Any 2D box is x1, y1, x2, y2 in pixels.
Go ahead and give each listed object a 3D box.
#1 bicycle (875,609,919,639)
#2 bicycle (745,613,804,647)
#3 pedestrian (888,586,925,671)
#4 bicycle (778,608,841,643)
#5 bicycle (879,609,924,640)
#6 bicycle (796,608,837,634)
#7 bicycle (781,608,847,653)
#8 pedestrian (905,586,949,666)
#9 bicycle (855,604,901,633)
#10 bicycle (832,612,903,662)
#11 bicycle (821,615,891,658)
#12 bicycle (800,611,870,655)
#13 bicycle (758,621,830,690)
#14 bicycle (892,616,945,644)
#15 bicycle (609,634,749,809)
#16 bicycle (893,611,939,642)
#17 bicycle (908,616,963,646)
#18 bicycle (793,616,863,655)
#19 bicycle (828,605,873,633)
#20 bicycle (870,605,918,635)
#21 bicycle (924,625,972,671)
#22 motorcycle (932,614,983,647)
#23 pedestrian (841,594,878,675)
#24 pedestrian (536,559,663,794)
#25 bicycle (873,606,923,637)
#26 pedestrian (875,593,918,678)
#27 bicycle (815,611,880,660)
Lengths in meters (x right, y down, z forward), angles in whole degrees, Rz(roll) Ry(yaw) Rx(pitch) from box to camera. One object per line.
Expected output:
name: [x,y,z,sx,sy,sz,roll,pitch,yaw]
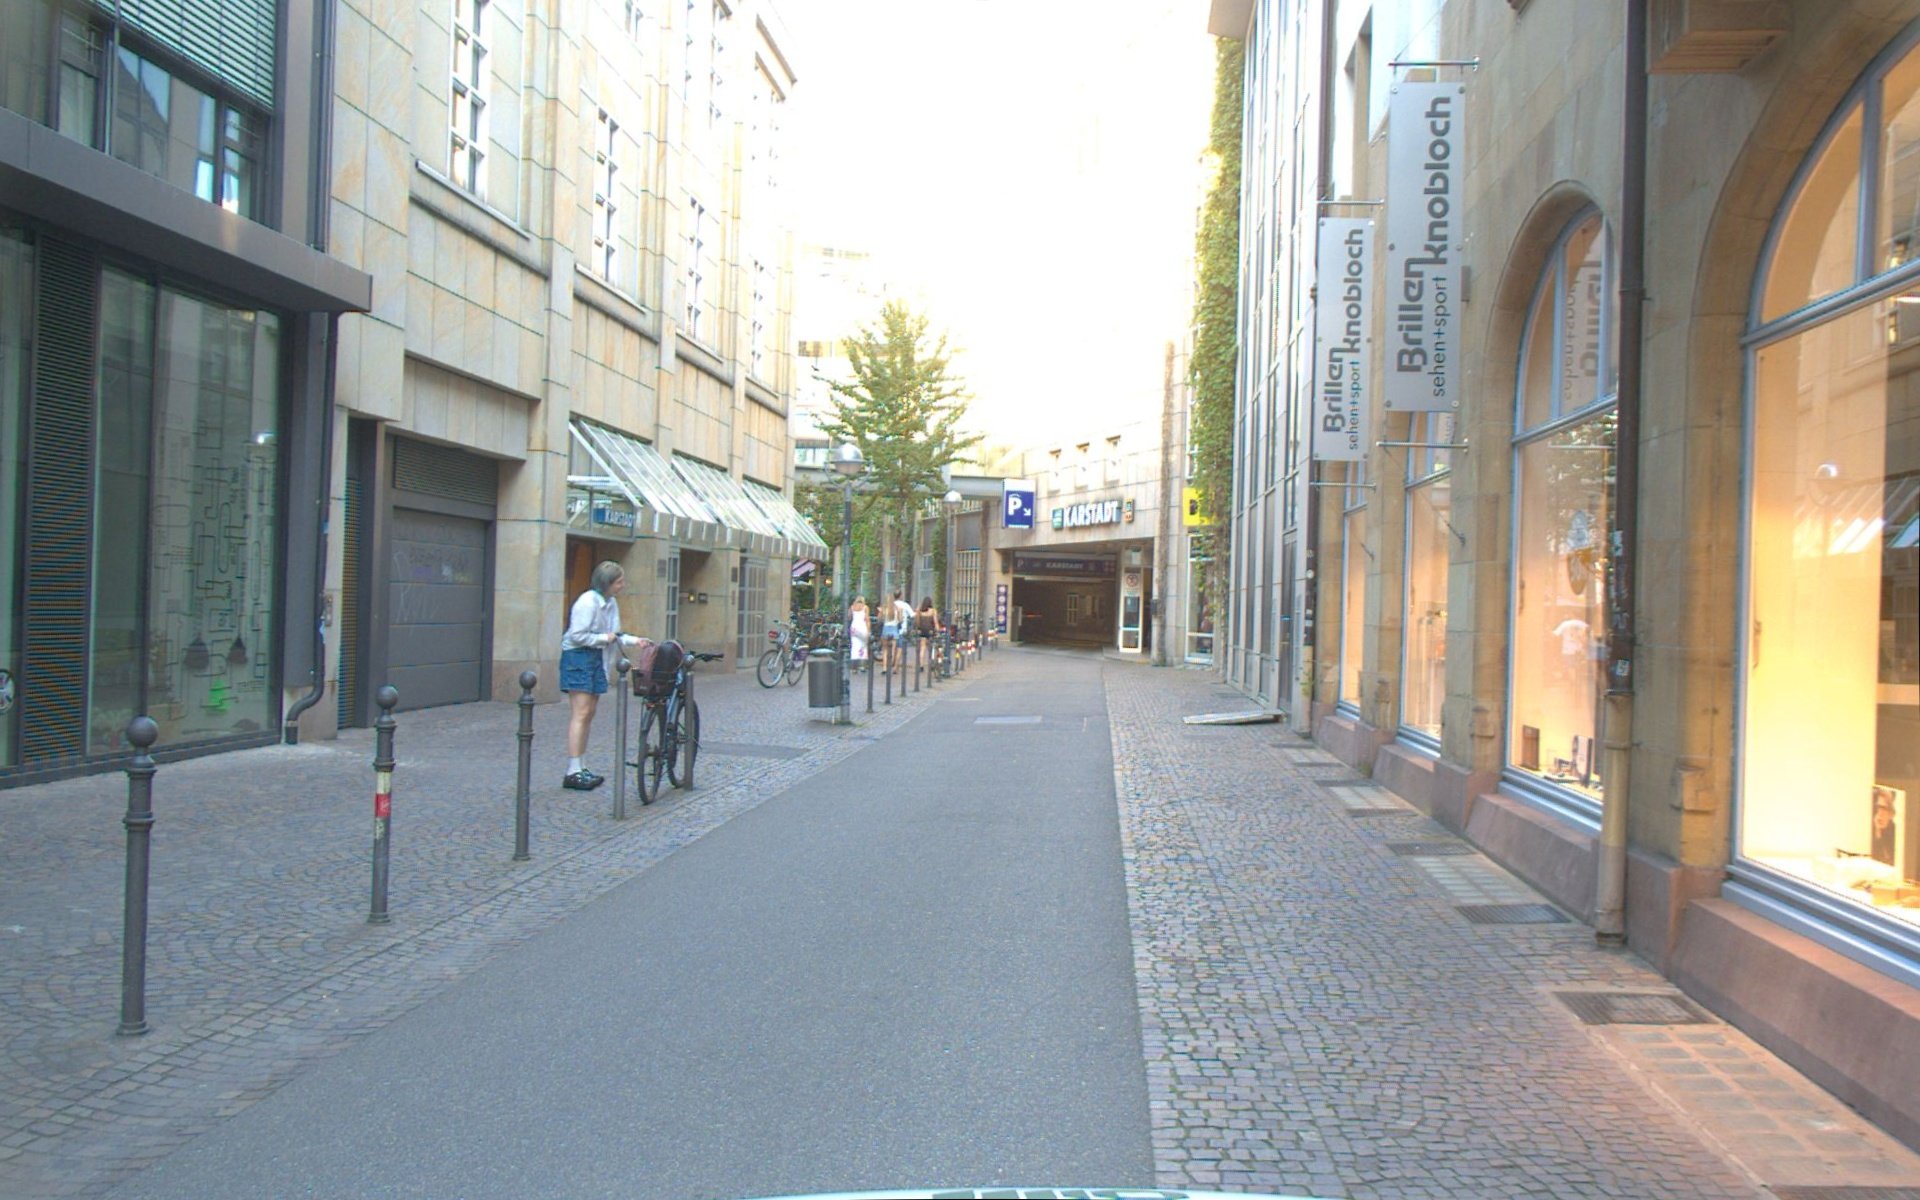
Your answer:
bicycle: [-2.296,0.885,60.412,1.514,1.067,0.573,1,0,-16]
bicycle: [-5.889,0.938,52.555,1.796,1.061,0.531,1,0,-19]
pedestrian: [-1.187,0.621,36.774,0.726,1.854,0.878,1,0,3]
bicycle: [-4.603,0.791,50.700,1.848,1.061,0.531,1,0,-19]
bicycle: [-2.096,0.864,58.997,1.514,1.067,0.573,1,0,-16]
bicycle: [-6.364,0.919,73.255,1.743,1.134,0.541,1,0,-14]
bicycle: [-4.137,0.868,46.870,1.805,1.246,0.531,1,0,-19]
pedestrian: [-0.756,0.597,38.356,0.768,1.826,0.973,1,0,13]
bicycle: [-3.213,0.722,64.974,1.744,1.134,0.540,1,0,-16]
bicycle: [-2.370,0.954,42.401,1.739,1.252,0.531,1,0,-19]
bicycle: [-2.801,0.991,44.609,1.808,1.142,0.531,1,0,-19]
bicycle: [-3.444,0.904,45.612,1.843,1.198,0.531,1,0,-19]
bicycle: [-2.909,0.961,29.139,0.511,1.158,1.765,1,0,20]
bicycle: [-1.434,1.025,56.864,1.744,0.920,0.461,1,0,-16]
bicycle: [-2.122,0.882,12.738,0.521,1.174,1.916,3,0,6]
bicycle: [-1.550,0.941,57.977,1.514,1.067,0.573,1,0,-16]
bicycle: [-0.840,1.038,56.089,1.818,0.999,0.461,1,0,-16]
bicycle: [-3.680,0.981,46.161,1.865,1.070,0.531,1,0,-19]
bicycle: [-4.464,0.776,67.326,1.744,1.134,0.540,1,0,-16]
bicycle: [-2.511,0.761,62.674,1.744,1.134,0.540,1,0,-16]
bicycle: [-0.244,1.029,35.783,0.482,0.955,1.659,2,0,19]
motorcycle: [-0.083,0.992,54.357,1.636,1.069,0.461,1,0,-16]
pedestrian: [-2.138,0.731,35.375,0.660,1.693,0.861,1,0,2]
pedestrian: [-2.806,0.580,12.921,0.752,1.748,0.592,3,0,4]
bicycle: [-2.308,0.803,61.591,1.744,1.134,0.540,1,0,-16]
pedestrian: [-1.344,0.750,35.262,0.789,1.760,0.949,1,0,3]
bicycle: [-2.977,0.937,43.727,1.628,1.252,0.531,1,0,-19]
